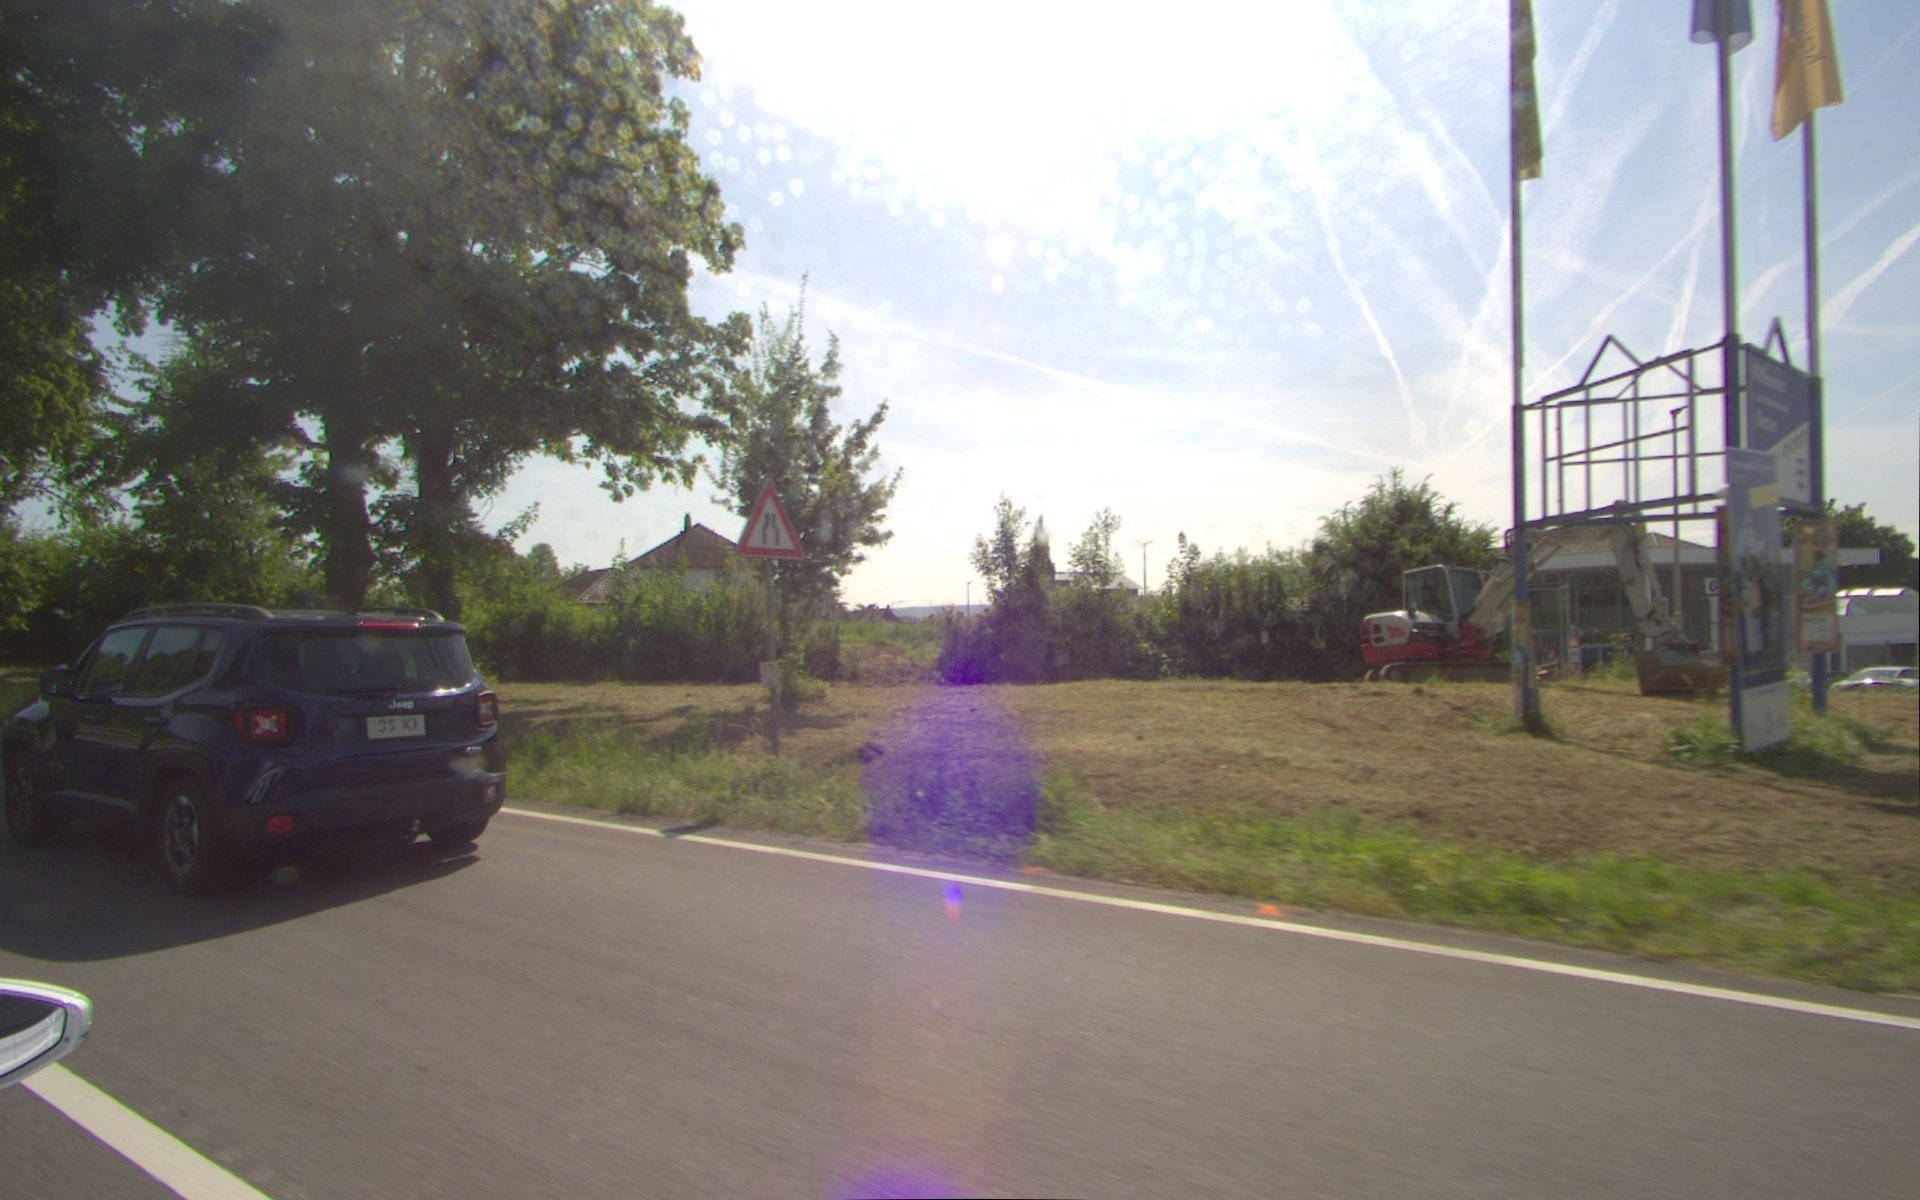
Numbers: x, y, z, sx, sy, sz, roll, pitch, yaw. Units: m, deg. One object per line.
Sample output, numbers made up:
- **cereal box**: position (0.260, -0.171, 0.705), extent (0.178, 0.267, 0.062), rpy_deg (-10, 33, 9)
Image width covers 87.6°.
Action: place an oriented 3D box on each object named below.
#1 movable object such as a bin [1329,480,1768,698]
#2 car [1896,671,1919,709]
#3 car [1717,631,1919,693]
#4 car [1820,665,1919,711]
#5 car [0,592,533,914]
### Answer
- **movable object such as a bin**: position (10.315, -0.138, 18.515), extent (2.852, 3.250, 6.688), rpy_deg (-1, 0, -20)
- **car**: position (34.892, 3.094, 34.791), extent (3.933, 1.205, 1.994), rpy_deg (-1, 0, -22)
- **car**: position (23.218, 1.621, 26.859), extent (1.964, 1.478, 4.317), rpy_deg (-1, -2, -15)
- **car**: position (34.227, 3.209, 37.058), extent (3.932, 1.390, 1.995), rpy_deg (-1, 0, -20)
- **car**: position (-5.014, 0.839, 7.021), extent (3.943, 1.676, 1.766), rpy_deg (-1, 0, 32)
